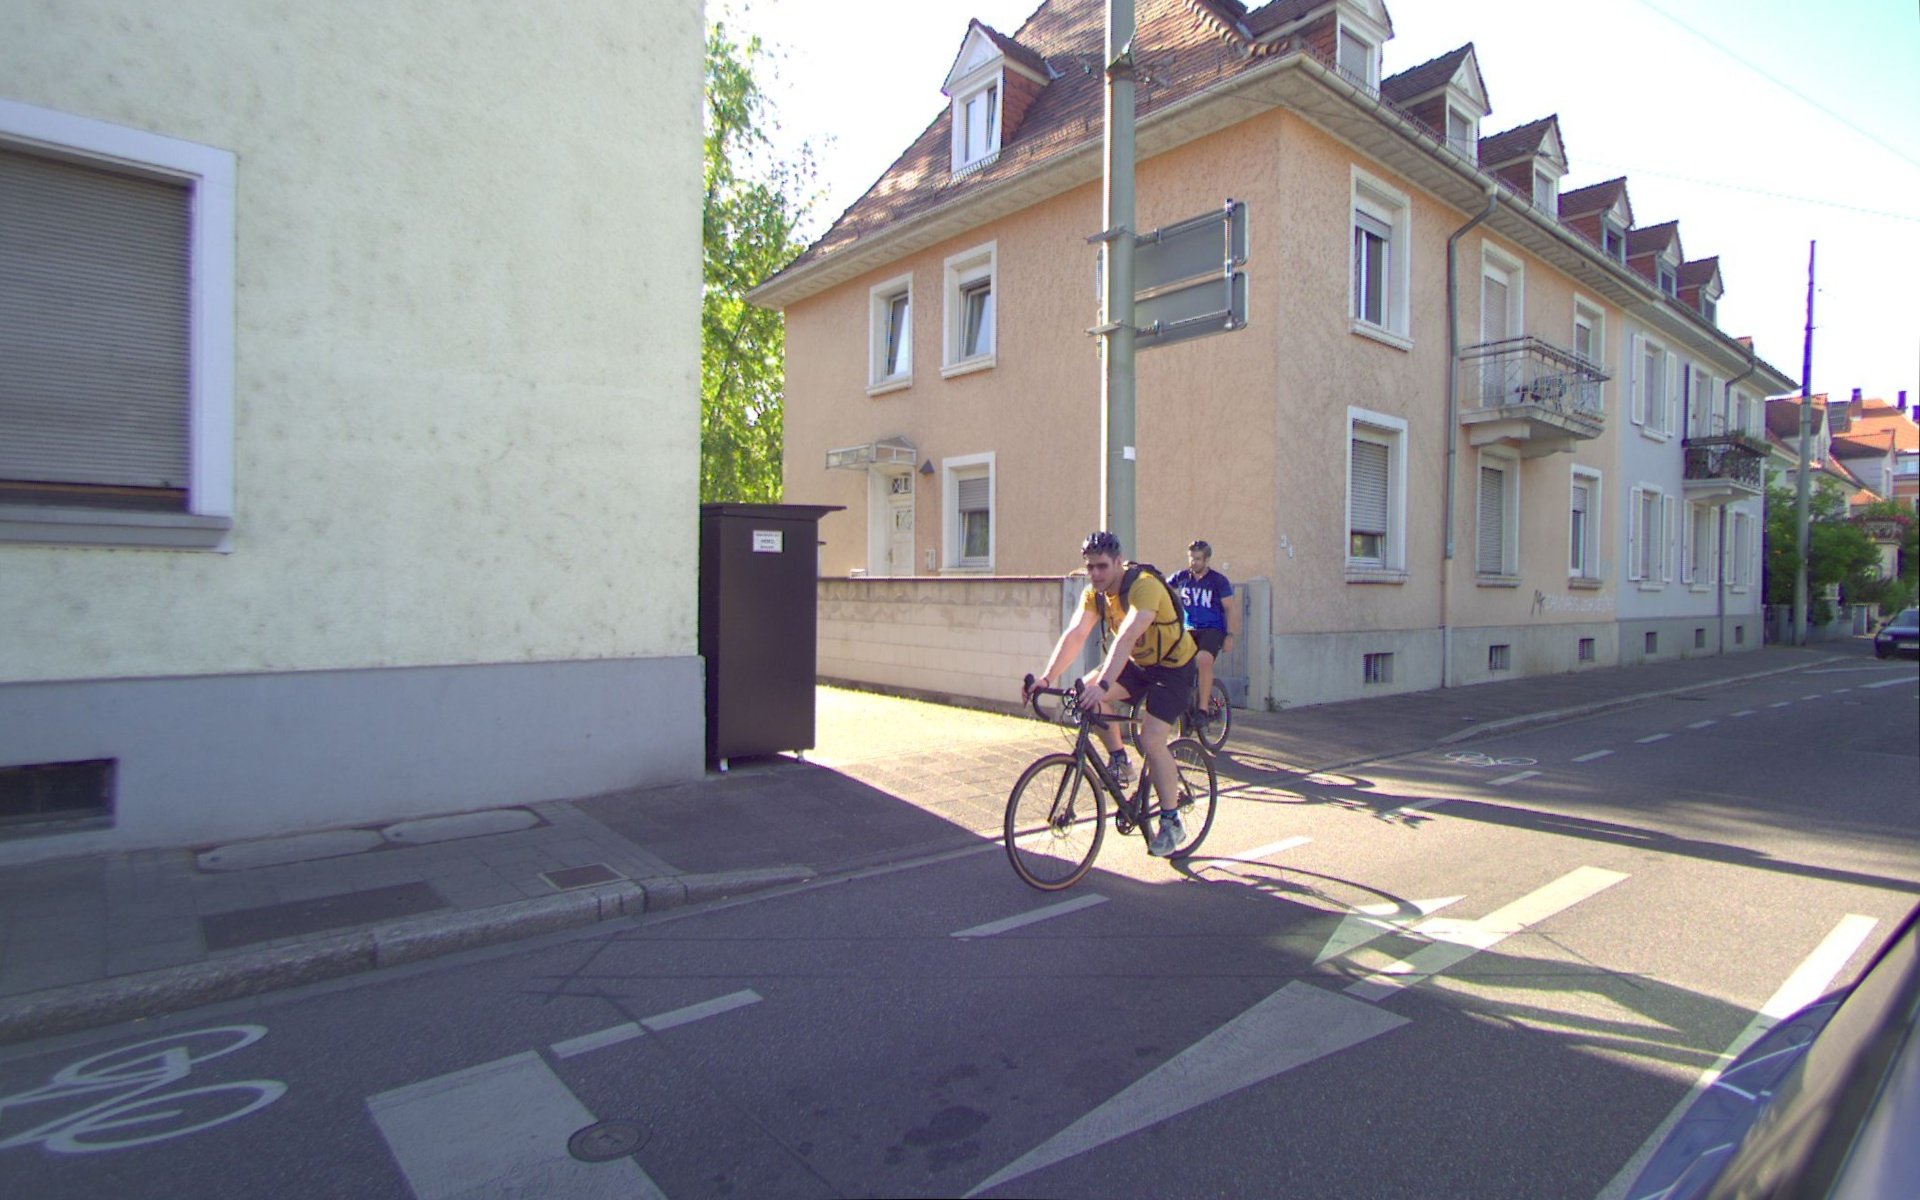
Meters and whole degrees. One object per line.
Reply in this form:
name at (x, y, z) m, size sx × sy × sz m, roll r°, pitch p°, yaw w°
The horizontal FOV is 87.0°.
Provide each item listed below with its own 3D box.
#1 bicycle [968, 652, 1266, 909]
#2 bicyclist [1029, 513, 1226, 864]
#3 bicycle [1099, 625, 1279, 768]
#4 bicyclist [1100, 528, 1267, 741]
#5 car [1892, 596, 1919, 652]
bicycle at (0.915, 0.886, 5.561) m, size 1.778 × 1.101 × 0.611 m, roll 0°, pitch 1°, yaw -41°
bicyclist at (0.925, 0.430, 5.549) m, size 0.939 × 1.743 × 0.582 m, roll 0°, pitch 1°, yaw -41°
bicycle at (2.051, 0.801, 8.959) m, size 1.689 × 1.064 × 0.595 m, roll 0°, pitch 6°, yaw -41°
bicyclist at (2.023, 0.267, 9.234) m, size 0.838 × 1.758 × 1.072 m, roll 0°, pitch 6°, yaw -40°
car at (26.663, 0.620, 27.337) m, size 3.932 × 1.438 × 1.845 m, roll 0°, pitch 1°, yaw -42°
